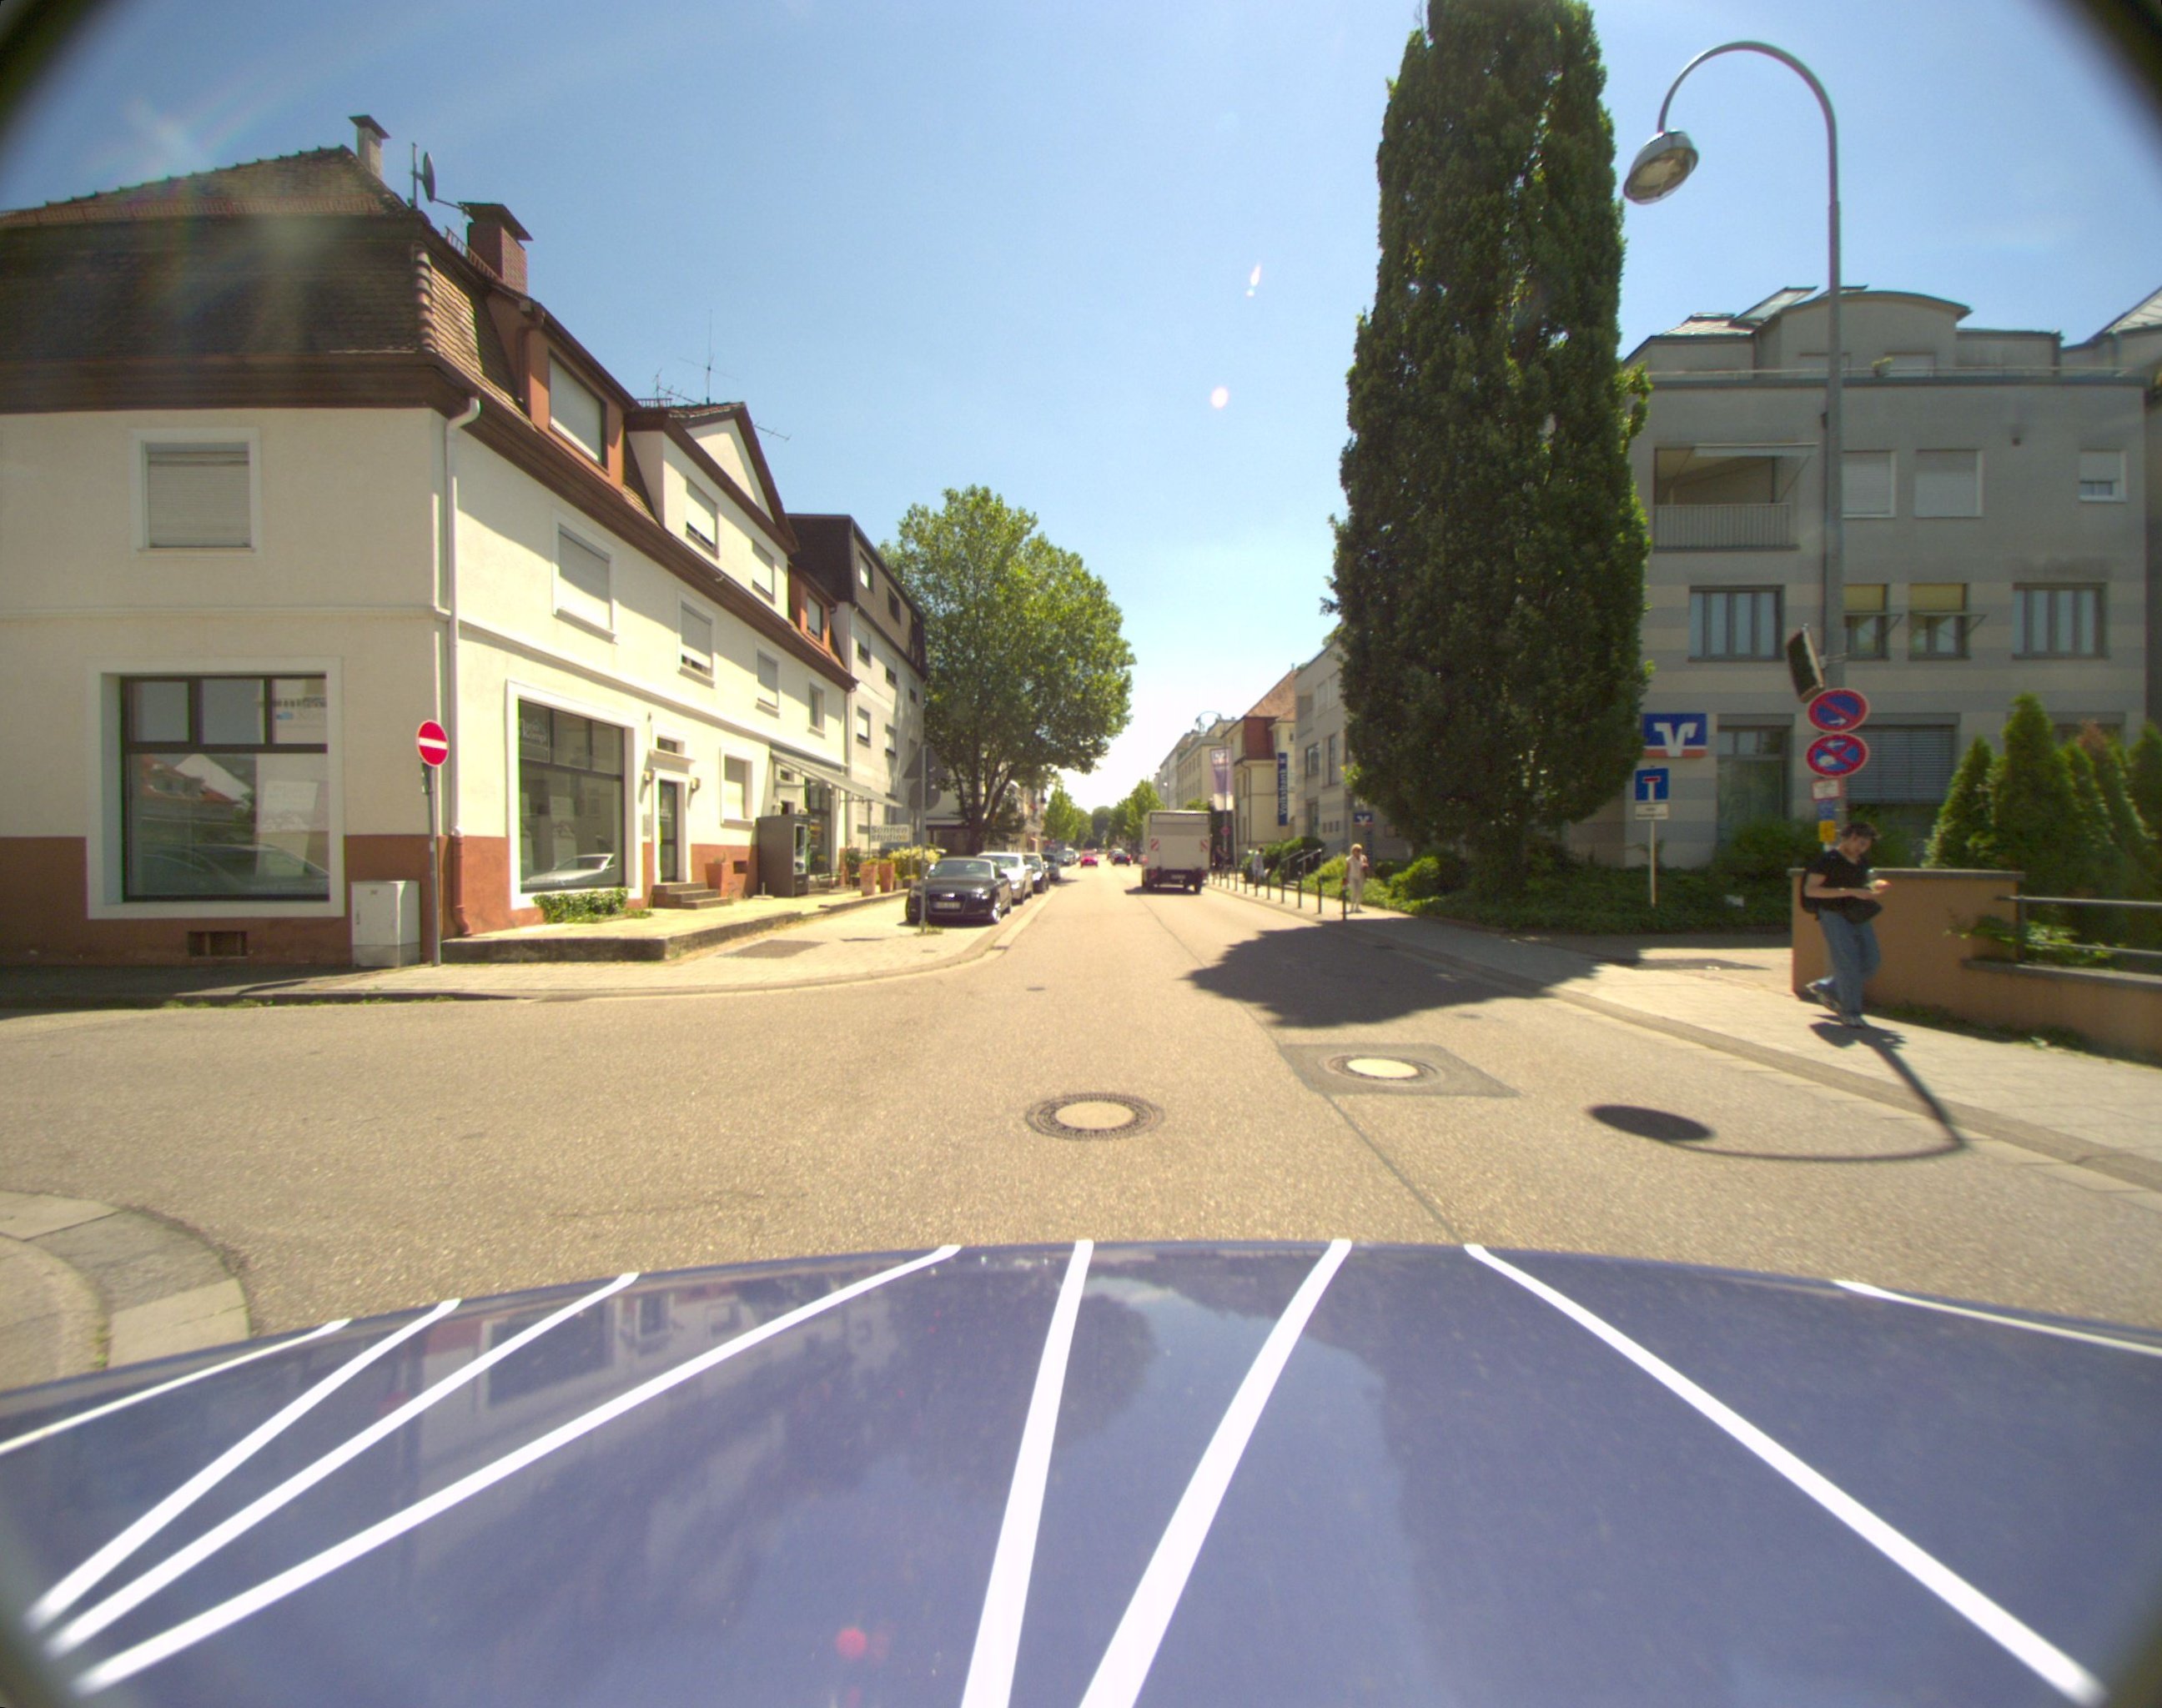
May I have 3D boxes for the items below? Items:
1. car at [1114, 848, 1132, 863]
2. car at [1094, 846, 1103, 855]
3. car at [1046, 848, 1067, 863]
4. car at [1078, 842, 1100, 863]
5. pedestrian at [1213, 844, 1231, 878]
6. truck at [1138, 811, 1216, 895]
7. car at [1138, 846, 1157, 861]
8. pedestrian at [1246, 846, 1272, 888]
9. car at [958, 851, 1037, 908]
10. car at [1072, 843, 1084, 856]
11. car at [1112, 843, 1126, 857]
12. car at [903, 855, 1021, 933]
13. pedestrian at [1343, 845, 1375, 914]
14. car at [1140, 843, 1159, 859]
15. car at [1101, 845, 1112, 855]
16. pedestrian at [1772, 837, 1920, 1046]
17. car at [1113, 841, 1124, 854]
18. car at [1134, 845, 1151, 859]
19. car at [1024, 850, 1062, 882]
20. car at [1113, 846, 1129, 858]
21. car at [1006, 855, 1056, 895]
[{"bbox_3d":[4.487,0.108,81.736,1.834,1.502,4.262,1,1,1],"label":"car"},{"bbox_3d":[3.289,-0.667,141.990,1.698,1.594,3.812,0,1,0],"label":"car"},{"bbox_3d":[-2.354,0.135,74.741,1.818,1.379,4.114,2,1,1],"label":"car"},{"bbox_3d":[0.813,-0.142,73.388,2.000,1.880,4.293,-2,1,1],"label":"car"},{"bbox_3d":[7.473,0.373,40.239,0.750,1.760,0.951,-1,1,0],"label":"pedestrian"},{"bbox_3d":[3.659,-0.074,30.317,2.426,2.966,6.257,1,1,1],"label":"truck"},{"bbox_3d":[7.768,-0.088,88.885,1.731,1.661,4.293,-1,1,0],"label":"car"},{"bbox_3d":[7.295,0.519,31.246,0.847,1.635,0.751,-3,2,3],"label":"pedestrian"},{"bbox_3d":[-2.419,0.698,23.256,1.748,1.460,4.851,2,1,1],"label":"car"},{"bbox_3d":[-0.468,-0.717,111.383,1.731,1.861,4.114,0,1,1],"label":"car"},{"bbox_3d":[5.240,-0.553,105.989,1.706,1.815,4.231,1,1,1],"label":"car"},{"bbox_3d":[-2.536,0.789,17.292,1.831,1.418,4.700,1,1,1],"label":"car"},{"bbox_3d":[6.820,0.609,18.662,0.538,1.675,0.708,-1,1,1],"label":"pedestrian"},{"bbox_3d":[7.403,-0.321,82.818,1.731,1.661,4.293,-1,1,1],"label":"car"},{"bbox_3d":[4.080,-0.631,121.700,1.731,1.500,4.294,-2,0,1],"label":"car"},{"bbox_3d":[6.449,0.698,6.442,0.538,1.675,0.708,-1,1,1],"label":"pedestrian"},{"bbox_3d":[6.508,-1.130,133.025,1.731,2.154,4.293,1,1,1],"label":"car"},{"bbox_3d":[7.619,-0.315,94.251,1.731,1.661,4.293,-1,1,1],"label":"car"},{"bbox_3d":[-1.983,0.583,40.826,1.834,1.502,4.758,-3,1,-1],"label":"car"},{"bbox_3d":[4.869,-0.263,92.885,1.834,1.502,4.031,0,1,1],"label":"car"},{"bbox_3d":[-1.852,0.741,28.942,1.561,1.333,4.173,1,1,1],"label":"car"}]
